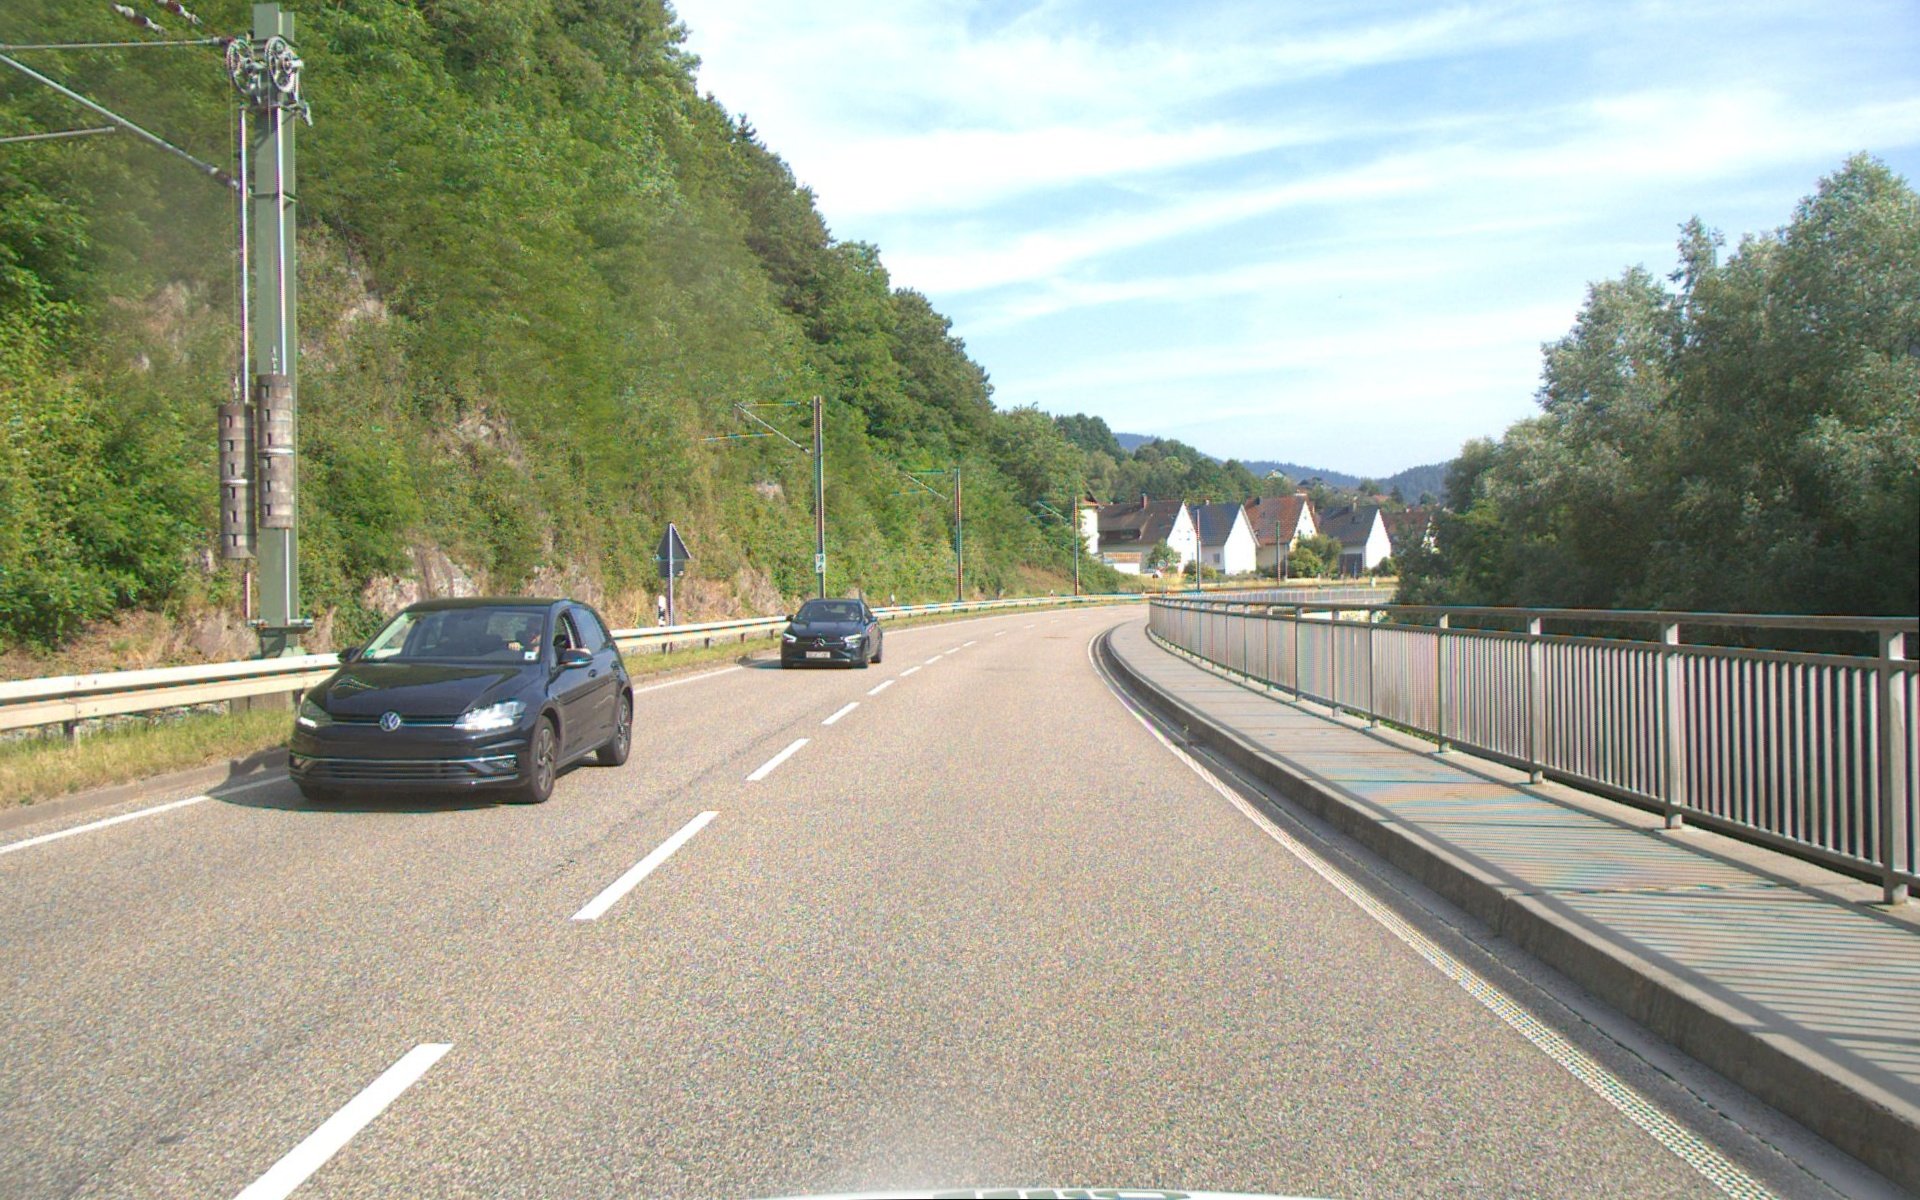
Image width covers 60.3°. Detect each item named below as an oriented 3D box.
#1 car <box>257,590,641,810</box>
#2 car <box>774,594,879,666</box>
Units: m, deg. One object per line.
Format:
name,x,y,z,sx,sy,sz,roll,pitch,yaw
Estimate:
car,-3.796,0.664,13.024,1.809,1.465,3.897,0,0,0
car,-2.789,0.603,35.526,1.809,1.426,4.476,-1,0,1
